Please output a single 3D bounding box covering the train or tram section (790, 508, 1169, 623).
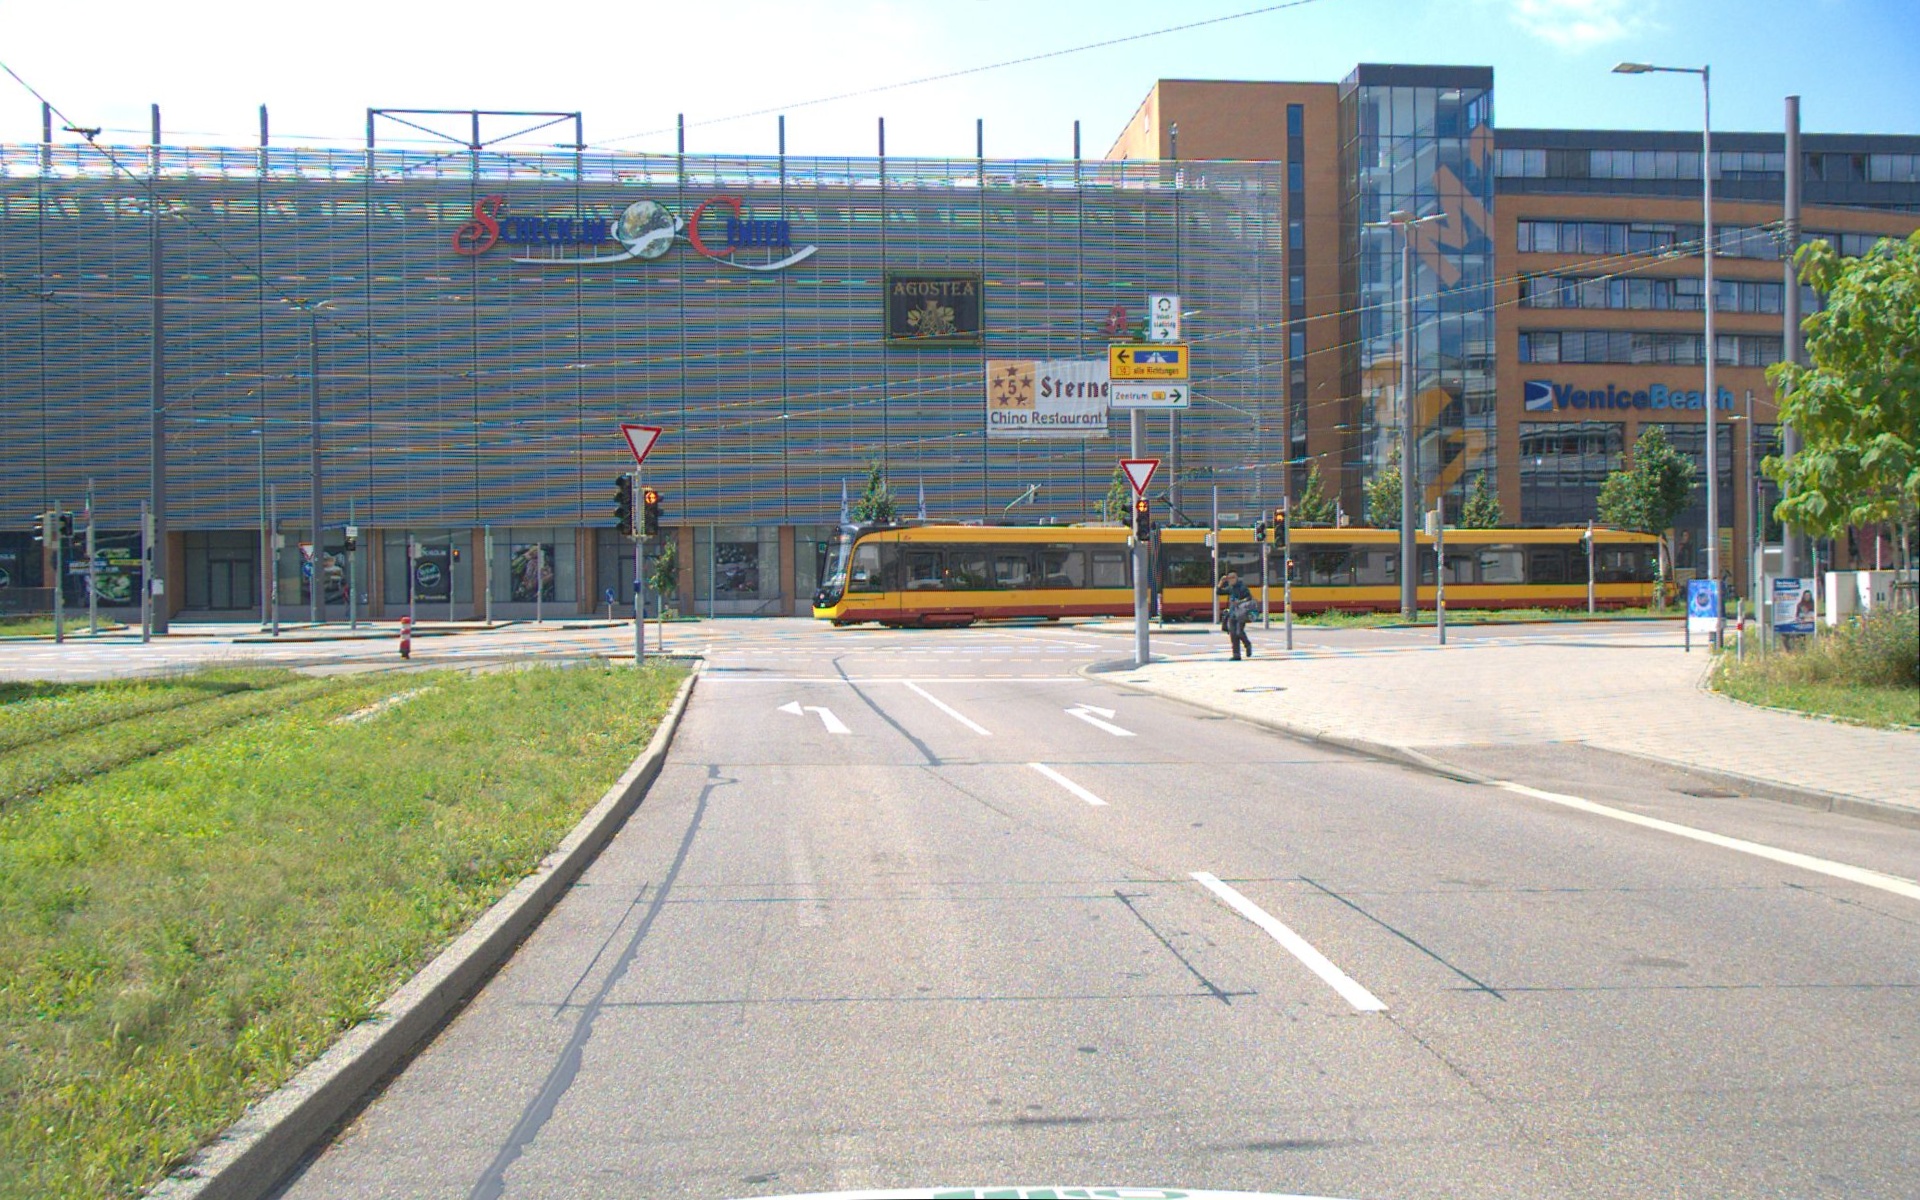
[{"bbox_3d":[0.893,-1.117,57.080,13.307,3.662,3.196,0,1,-29],"label":"train or tram section"}]

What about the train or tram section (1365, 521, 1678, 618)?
[{"bbox_3d":[22.477,-1.147,66.103,12.390,3.684,3.052,0,1,-16],"label":"train or tram section"}]

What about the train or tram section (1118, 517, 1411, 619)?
[{"bbox_3d":[11.488,-1.156,62.269,10.791,3.666,3.048,0,1,-19],"label":"train or tram section"}]

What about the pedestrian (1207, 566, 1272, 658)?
[{"bbox_3d":[5.429,0.228,32.114,0.799,1.732,0.907,-2,0,-35],"label":"pedestrian"}]
